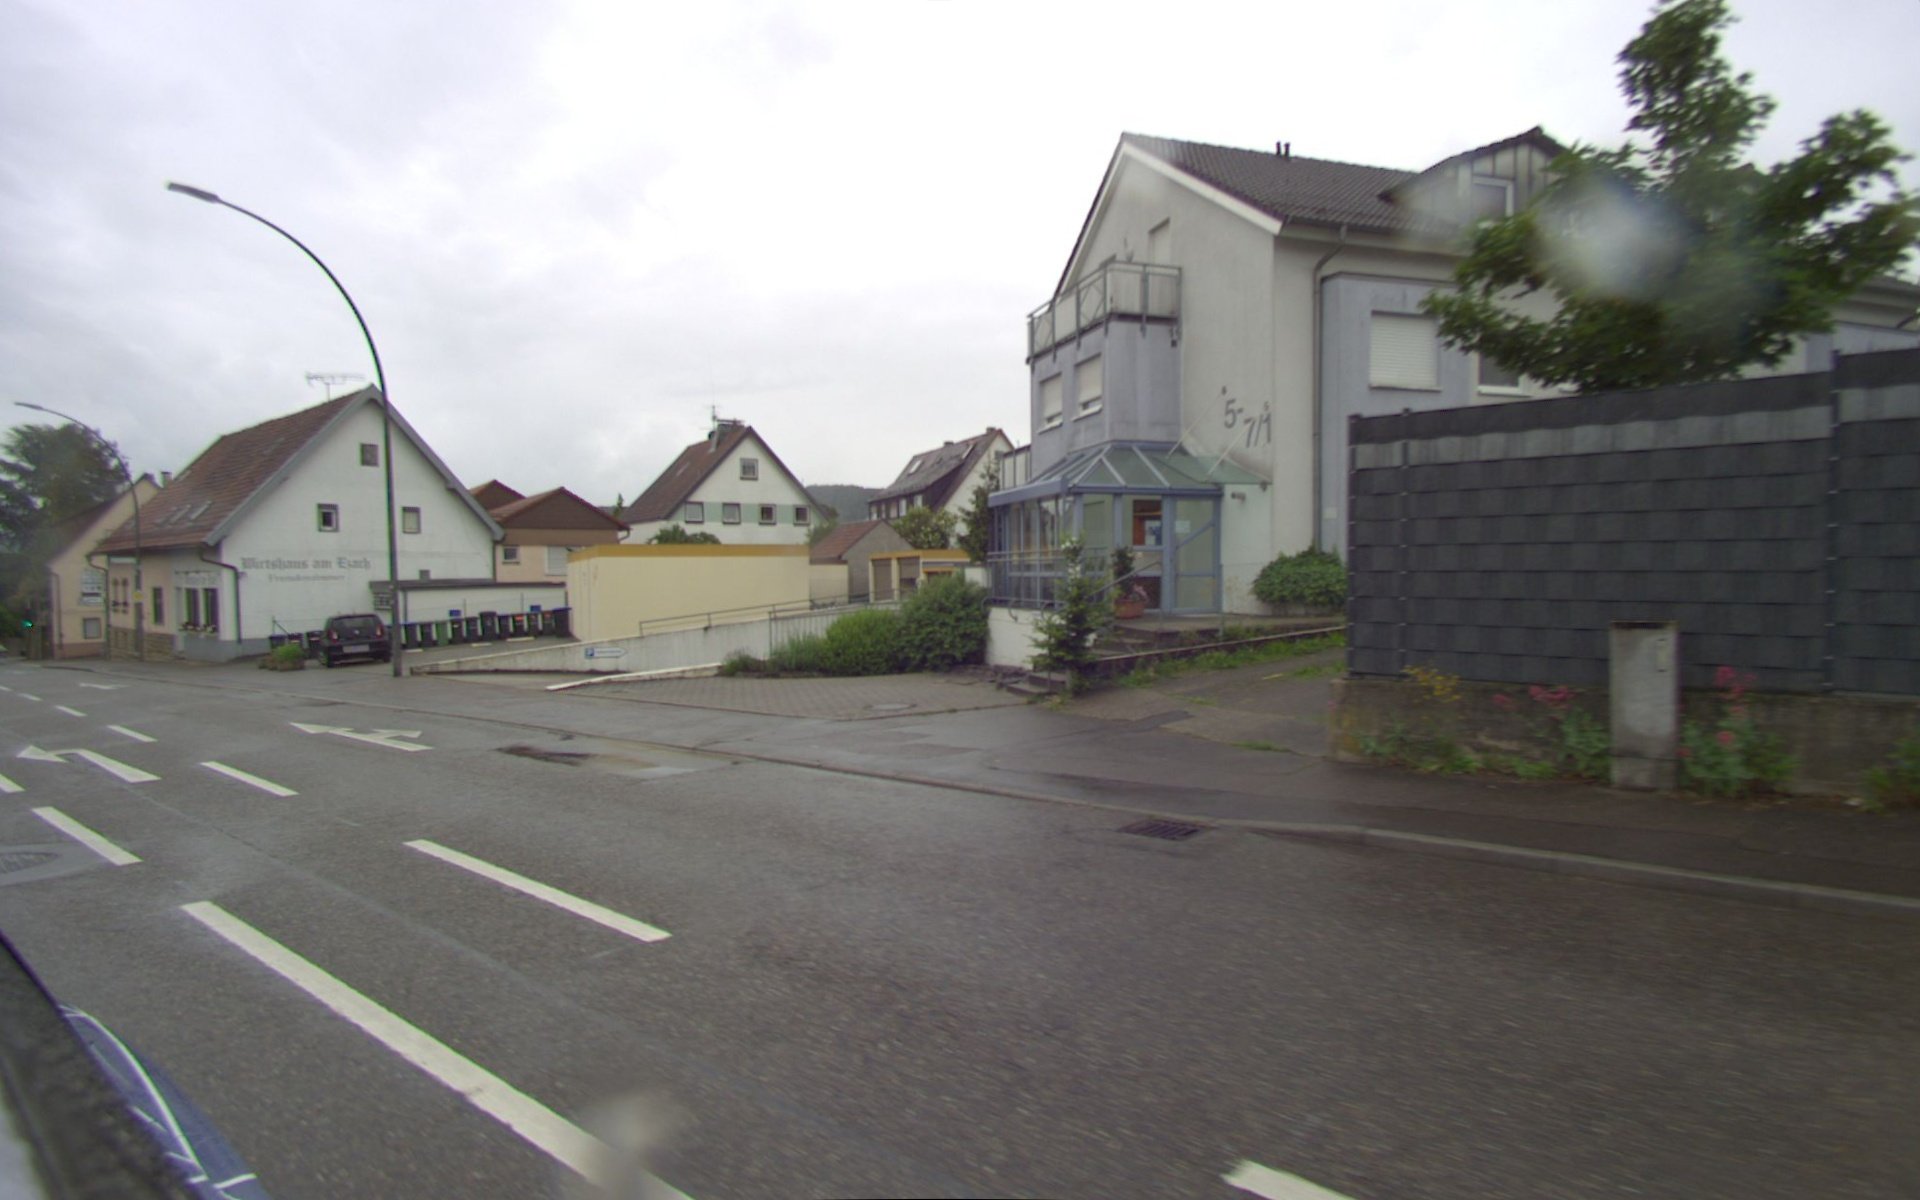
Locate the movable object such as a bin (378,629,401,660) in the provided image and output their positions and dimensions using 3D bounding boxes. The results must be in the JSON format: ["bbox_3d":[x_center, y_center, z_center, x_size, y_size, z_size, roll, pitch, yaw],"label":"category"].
[{"bbox_3d":[-19.659,1.535,34.855,0.629,1.040,0.606,1,-2,-36],"label":"movable object such as a bin"}]

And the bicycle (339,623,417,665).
[{"bbox_3d":[-18.917,1.421,32.911,2.069,1.122,0.739,-5,3,-33],"label":"bicycle"}]

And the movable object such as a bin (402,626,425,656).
[{"bbox_3d":[-19.057,1.417,35.282,0.629,1.040,0.606,1,-2,-36],"label":"movable object such as a bin"}]

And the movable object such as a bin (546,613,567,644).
[{"bbox_3d":[-14.475,1.013,36.299,0.660,1.087,0.626,0,-2,-27],"label":"movable object such as a bin"}]

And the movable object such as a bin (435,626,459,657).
[{"bbox_3d":[-18.083,1.448,35.679,0.629,1.040,0.606,-4,0,-36],"label":"movable object such as a bin"}]

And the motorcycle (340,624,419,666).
[{"bbox_3d":[-18.511,1.415,32.277,2.082,1.122,0.782,-5,3,-33],"label":"motorcycle"}]

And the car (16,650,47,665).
[{"bbox_3d":[-108.474,6.706,118.302,1.803,1.642,4.166,0,-3,-30],"label":"car"}]

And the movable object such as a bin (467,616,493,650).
[{"bbox_3d":[-17.229,1.198,36.302,0.630,1.138,0.606,-7,2,-36],"label":"movable object such as a bin"}]

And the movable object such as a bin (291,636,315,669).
[{"bbox_3d":[-21.721,1.731,33.448,0.629,1.040,0.606,1,-2,-36],"label":"movable object such as a bin"}]

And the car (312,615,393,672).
[{"bbox_3d":[-17.862,1.263,29.795,1.875,1.453,3.839,-3,0,-31],"label":"car"}]

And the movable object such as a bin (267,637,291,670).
[{"bbox_3d":[-22.261,1.748,33.079,0.629,1.040,0.675,1,-2,-36],"label":"movable object such as a bin"}]

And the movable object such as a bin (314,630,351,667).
[{"bbox_3d":[-21.040,1.623,33.949,0.634,1.033,0.606,-30,16,-33],"label":"movable object such as a bin"}]
